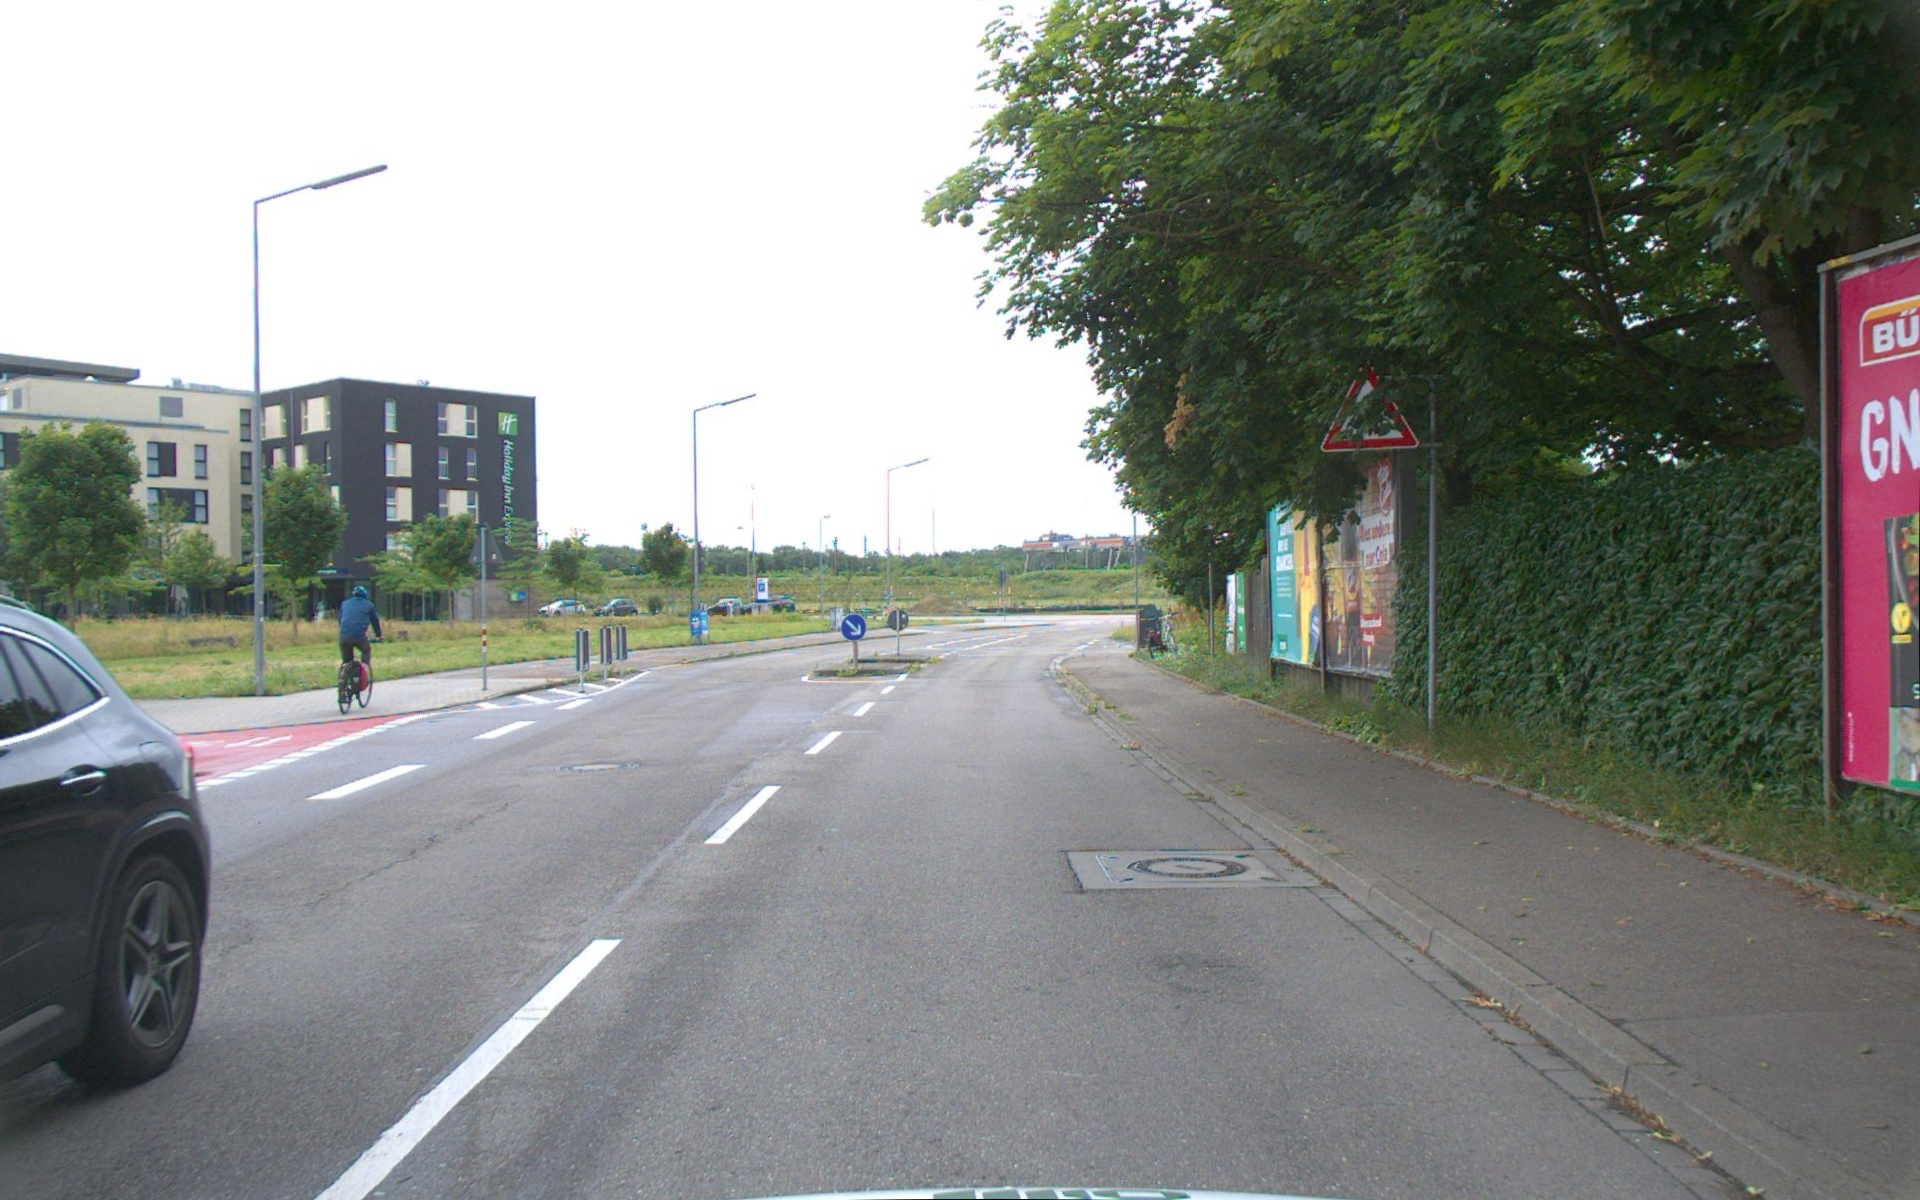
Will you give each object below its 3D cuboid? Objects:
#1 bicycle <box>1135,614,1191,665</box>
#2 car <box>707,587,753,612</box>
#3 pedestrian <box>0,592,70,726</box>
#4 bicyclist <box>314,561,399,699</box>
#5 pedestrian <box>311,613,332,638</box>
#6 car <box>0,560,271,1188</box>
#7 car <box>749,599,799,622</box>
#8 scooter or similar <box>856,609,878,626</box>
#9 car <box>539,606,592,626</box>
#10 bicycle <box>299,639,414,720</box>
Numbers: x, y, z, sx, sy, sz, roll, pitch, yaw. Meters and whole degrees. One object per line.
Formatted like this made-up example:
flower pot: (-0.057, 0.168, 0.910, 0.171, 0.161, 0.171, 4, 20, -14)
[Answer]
bicycle: (4.700, 0.896, 38.171, 0.779, 1.130, 1.952, -1, 0, 22)
car: (-19.575, -0.011, 140.672, 1.985, 2.049, 3.936, -1, 1, -43)
pedestrian: (-13.112, 0.807, 23.062, 0.827, 1.814, 1.076, -1, 0, -5)
bicyclist: (-9.209, 0.439, 25.270, 0.844, 2.049, 1.177, -1, 0, -1)
pedestrian: (-41.561, 1.634, 107.679, 0.932, 1.598, 0.875, -1, 0, 24)
car: (-3.354, 0.715, 3.839, 1.843, 1.594, 4.356, -1, 1, -3)
car: (-15.328, 0.880, 136.284, 3.928, 1.854, 1.988, 0, 1, 42)
scooter or similar: (-6.511, 1.212, 116.384, 1.431, 1.189, 0.572, 0, 0, 15)
car: (-32.915, 1.346, 138.109, 1.958, 1.544, 4.143, -1, 1, 33)
bicycle: (-9.191, 1.191, 25.307, 0.866, 1.071, 2.468, -1, 1, -1)
